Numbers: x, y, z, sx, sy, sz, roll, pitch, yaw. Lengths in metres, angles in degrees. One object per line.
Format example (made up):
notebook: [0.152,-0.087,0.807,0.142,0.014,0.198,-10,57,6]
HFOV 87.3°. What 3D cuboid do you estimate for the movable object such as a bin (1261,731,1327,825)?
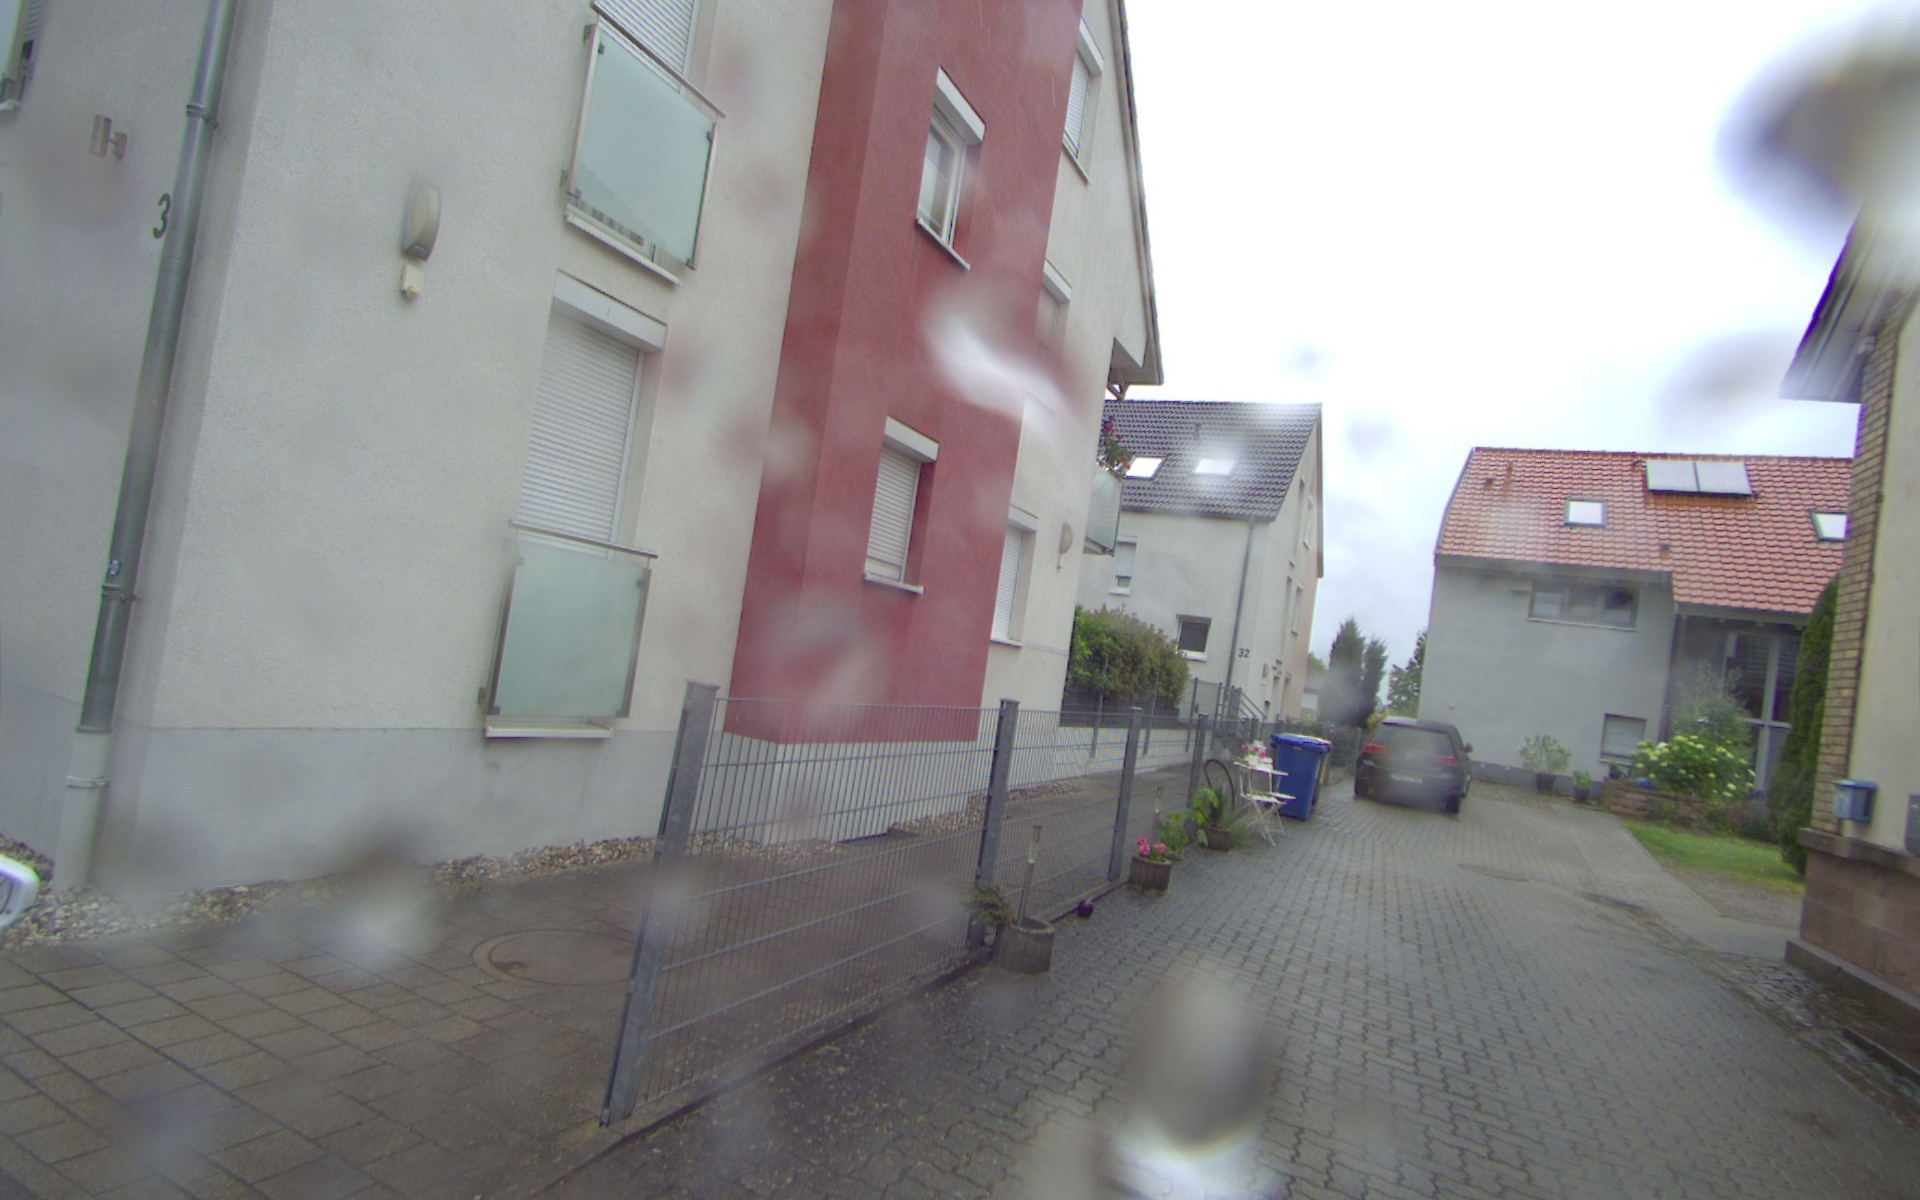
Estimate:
movable object such as a bin: [4.484,2.370,13.486,0.675,1.108,0.536,7,-2,25]

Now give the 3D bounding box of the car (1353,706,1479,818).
car: [8.551,2.890,18.697,1.656,1.491,3.993,7,0,30]

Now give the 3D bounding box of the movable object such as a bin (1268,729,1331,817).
movable object such as a bin: [4.815,2.435,14.256,0.675,1.108,0.536,7,-2,25]
